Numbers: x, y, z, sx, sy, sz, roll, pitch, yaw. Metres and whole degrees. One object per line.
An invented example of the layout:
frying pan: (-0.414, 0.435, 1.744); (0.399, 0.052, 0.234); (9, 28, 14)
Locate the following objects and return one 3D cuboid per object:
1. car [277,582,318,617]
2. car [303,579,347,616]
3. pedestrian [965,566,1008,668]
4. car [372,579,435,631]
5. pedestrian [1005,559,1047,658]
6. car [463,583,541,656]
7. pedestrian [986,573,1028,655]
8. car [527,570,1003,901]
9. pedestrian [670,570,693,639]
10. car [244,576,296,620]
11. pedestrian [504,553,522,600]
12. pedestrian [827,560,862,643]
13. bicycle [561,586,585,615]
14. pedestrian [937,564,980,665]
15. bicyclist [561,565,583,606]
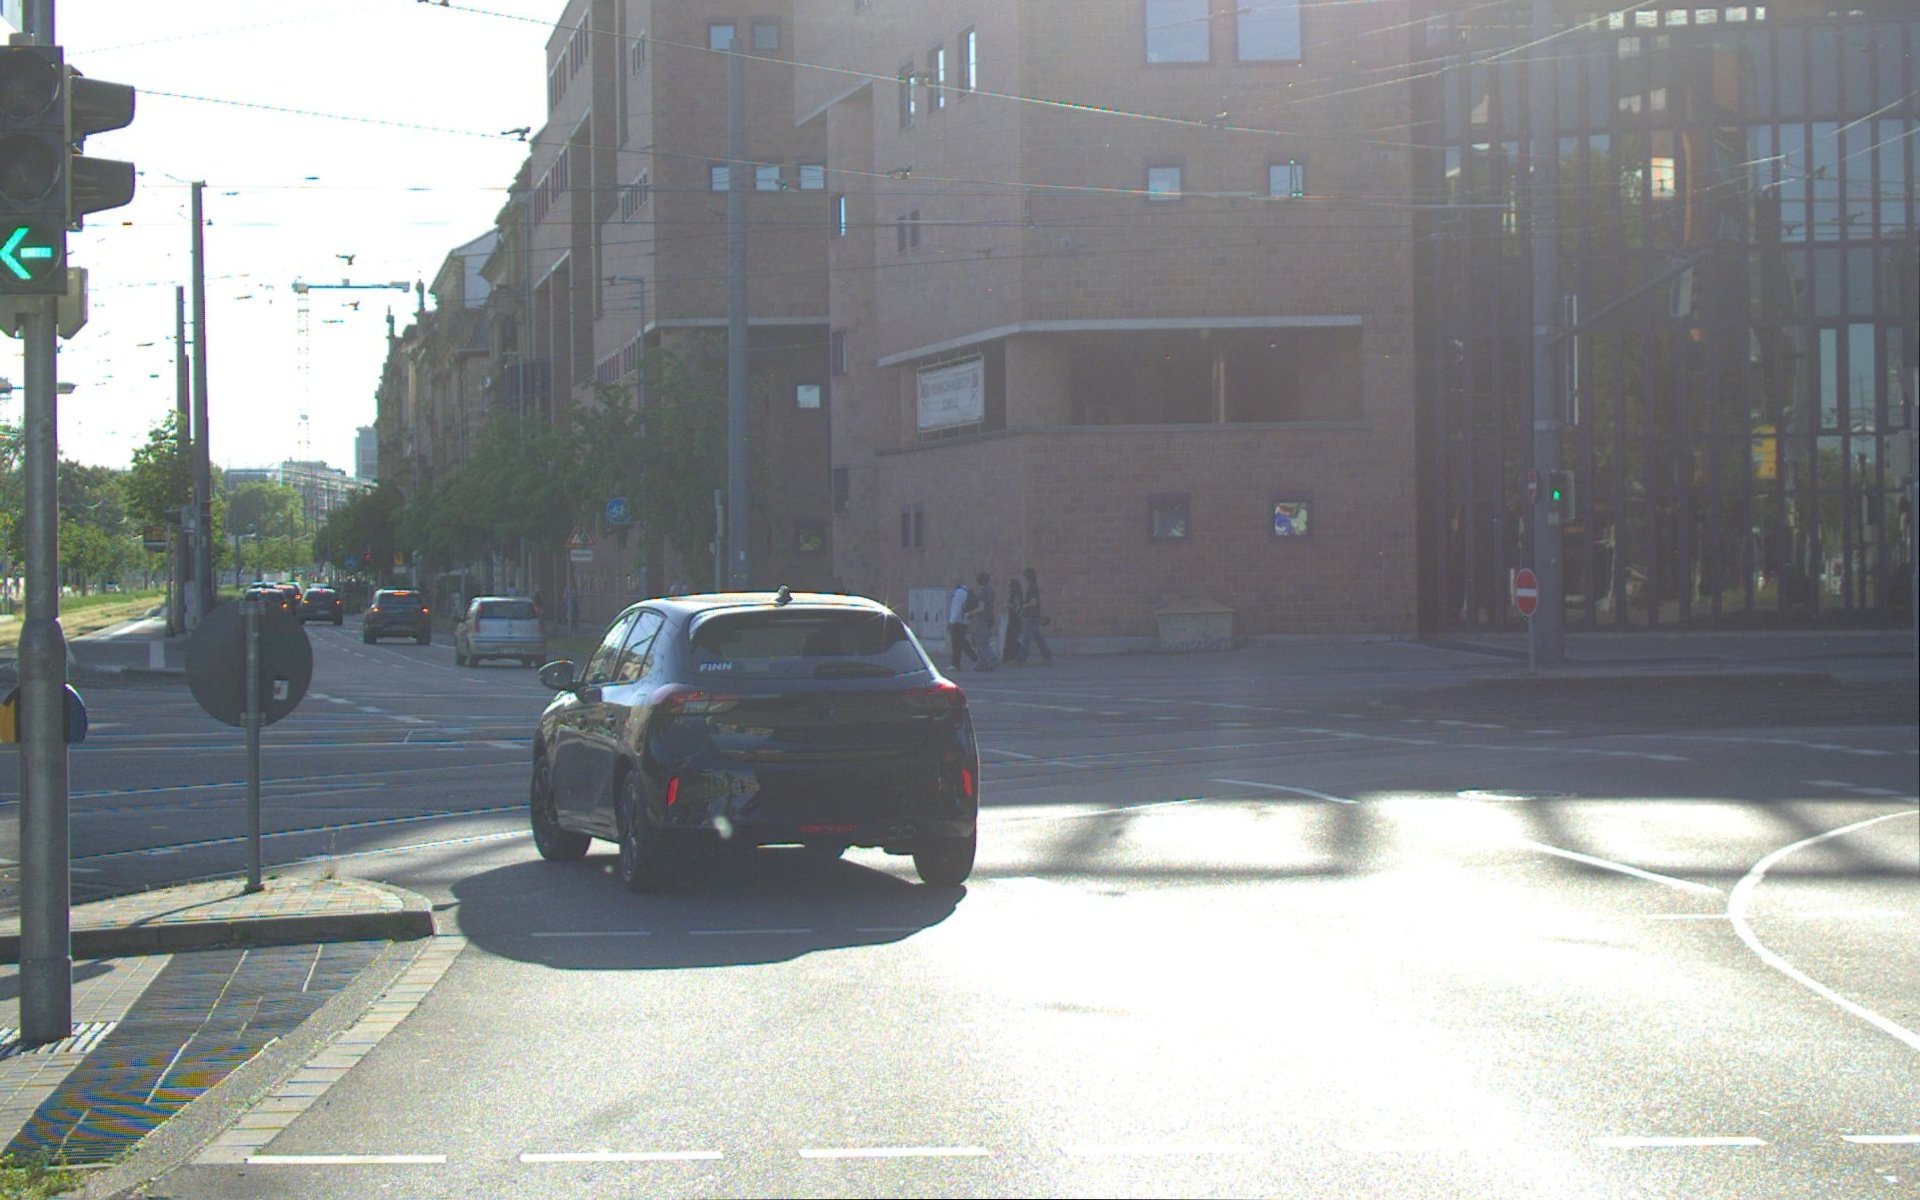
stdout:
car: (-29.320, -0.037, 152.055); (1.720, 1.448, 3.699); (-2, 1, -11)
car: (-25.937, -0.120, 140.388); (1.720, 1.448, 3.699); (-2, 1, -11)
pedestrian: (0.466, 0.290, 60.796); (0.571, 1.780, 0.549); (-2, 0, -19)
car: (-16.233, 0.136, 100.154); (1.670, 1.448, 3.699); (-2, 1, -11)
pedestrian: (1.200, 0.148, 62.313); (0.571, 1.780, 0.549); (-2, 0, -19)
car: (-9.593, 0.381, 71.885); (1.559, 1.451, 3.432); (-1, 1, -9)
pedestrian: (0.857, 0.253, 63.115); (0.547, 1.472, 0.573); (-1, 1, -29)
car: (-1.115, 0.614, 17.767); (1.671, 1.496, 3.692); (1, 1, -16)
pedestrian: (-7.290, 0.122, 90.009); (0.547, 1.780, 0.573); (-1, 3, -8)
car: (-23.923, -0.070, 119.305); (1.720, 1.448, 3.699); (-2, 1, -11)
pedestrian: (-16.915, -0.888, 130.026); (0.640, 1.780, 0.688); (-2, 0, -8)
pedestrian: (-2.513, 0.035, 74.657); (0.640, 1.780, 0.688); (-2, 0, -8)
bicycle: (-12.587, 0.001, 111.774); (0.648, 0.901, 2.346); (-1, 1, -10)
pedestrian: (-0.030, 0.264, 61.371); (0.571, 1.780, 0.549); (-2, 0, -19)
bicyclist: (-12.618, -0.479, 111.756); (0.645, 1.335, 0.653); (-1, 0, -10)
